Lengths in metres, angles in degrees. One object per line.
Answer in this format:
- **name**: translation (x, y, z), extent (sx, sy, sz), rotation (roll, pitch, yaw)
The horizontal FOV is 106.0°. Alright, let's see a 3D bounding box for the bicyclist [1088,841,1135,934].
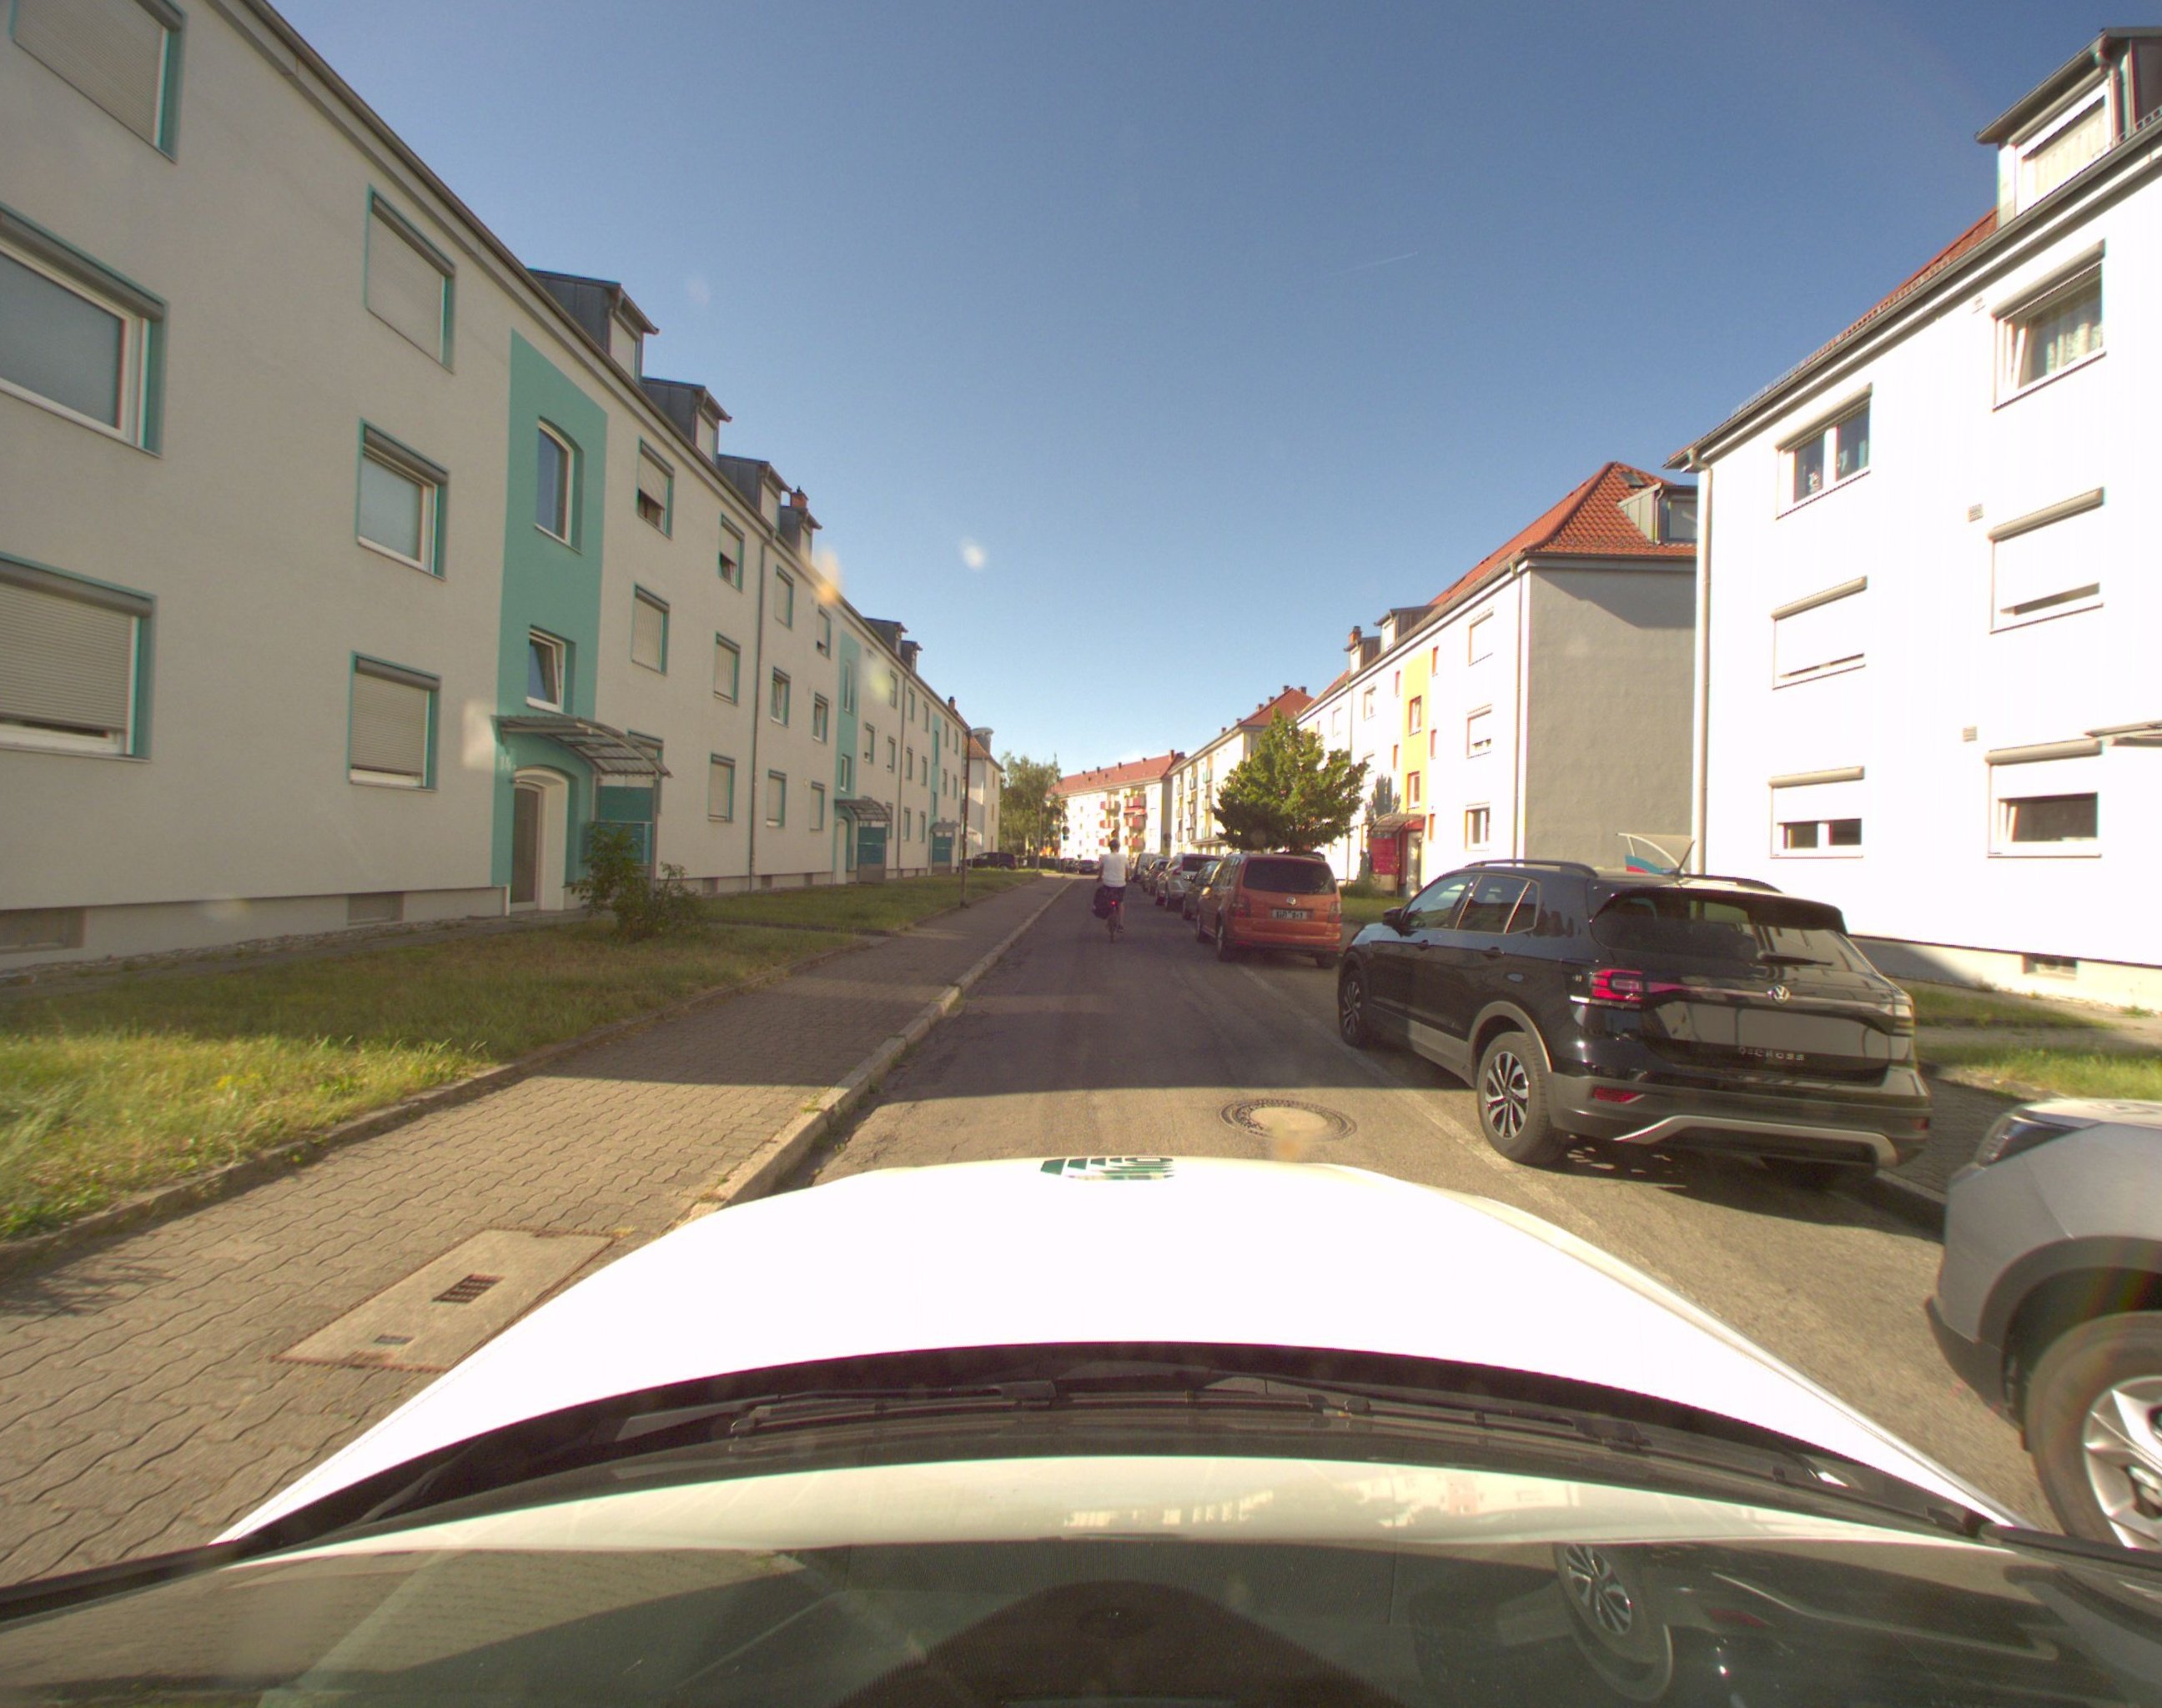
- **bicyclist**: translation (0.546, 0.590, 14.869), extent (0.806, 1.643, 0.898), rotation (0, 0, -1)

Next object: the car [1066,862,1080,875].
- **car**: translation (-0.894, 1.602, 91.505), extent (1.465, 1.335, 3.139), rotation (-2, 0, -2)

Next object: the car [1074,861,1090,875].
- **car**: translation (0.067, 1.411, 84.848), extent (1.466, 1.335, 3.137), rotation (-2, 0, -3)

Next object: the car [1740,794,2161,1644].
- **car**: translation (2.982, 0.749, 0.319), extent (1.745, 1.617, 4.450), rotation (4, 0, -1)

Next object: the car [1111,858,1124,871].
- **car**: translation (4.355, 1.227, 96.976), extent (1.377, 1.497, 3.076), rotation (2, 0, -1)

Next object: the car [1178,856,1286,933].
- **car**: translation (3.351, 0.840, 18.736), extent (1.613, 1.460, 3.839), rotation (4, 0, -1)

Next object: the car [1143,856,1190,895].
- **car**: translation (3.412, 0.820, 33.124), extent (1.553, 1.411, 3.934), rotation (2, 0, 1)

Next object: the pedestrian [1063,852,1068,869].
- **pedestrian**: translation (-1.435, 0.566, 76.622), extent (0.433, 1.574, 0.543), rotation (2, 0, 1)

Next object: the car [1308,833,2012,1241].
- **car**: translation (3.046, 0.766, 5.617), extent (1.706, 1.595, 4.398), rotation (4, 0, 1)

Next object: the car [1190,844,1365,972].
- **car**: translation (2.989, 0.750, 13.302), extent (1.855, 1.668, 4.128), rotation (3, 0, 1)

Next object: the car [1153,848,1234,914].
- **car**: translation (3.186, 0.719, 23.870), extent (1.695, 1.671, 4.378), rotation (3, 0, 0)

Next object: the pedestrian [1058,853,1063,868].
- **pedestrian**: translation (-1.934, 0.604, 76.605), extent (0.433, 1.427, 0.543), rotation (2, 0, 1)

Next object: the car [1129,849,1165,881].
- **car**: translation (3.821, 0.624, 47.381), extent (1.669, 1.738, 3.941), rotation (2, 0, -1)

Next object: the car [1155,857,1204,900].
- **car**: translation (3.505, 0.841, 29.267), extent (1.386, 1.403, 3.245), rotation (2, 0, 1)

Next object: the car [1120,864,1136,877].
- **car**: translation (5.185, 1.773, 89.973), extent (1.465, 1.335, 3.140), rotation (2, 0, -1)

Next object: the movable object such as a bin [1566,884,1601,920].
- **movable object such as a bin**: translation (13.100, 1.237, 21.229), extent (0.521, 0.886, 0.633), rotation (1, 0, 1)

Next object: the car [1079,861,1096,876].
- **car**: translation (0.644, 1.410, 80.468), extent (1.466, 1.335, 3.137), rotation (-2, 0, -3)

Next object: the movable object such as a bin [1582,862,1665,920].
- **movable object such as a bin**: translation (14.051, 0.940, 21.139), extent (1.355, 1.416, 1.188), rotation (1, 0, 1)

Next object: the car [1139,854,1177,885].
- **car**: translation (3.991, 0.788, 42.662), extent (1.554, 1.453, 3.365), rotation (2, 0, -1)

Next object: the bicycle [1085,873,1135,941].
- **bicycle**: translation (0.509, 0.934, 15.022), extent (0.806, 1.128, 2.101), rotation (0, 0, -1)

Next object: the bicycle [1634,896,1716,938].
- **bicycle**: translation (12.609, 1.319, 17.359), extent (0.452, 0.740, 1.870), rotation (1, 0, 2)

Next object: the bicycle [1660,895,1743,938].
- **bicycle**: translation (13.078, 1.295, 17.211), extent (0.452, 0.768, 1.781), rotation (1, 0, 2)

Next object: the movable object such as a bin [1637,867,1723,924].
- **movable object such as a bin**: translation (15.533, 1.055, 21.154), extent (1.355, 1.416, 1.188), rotation (1, 0, 1)

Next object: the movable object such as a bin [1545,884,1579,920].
- **movable object such as a bin**: translation (12.545, 1.239, 21.251), extent (0.521, 0.886, 0.633), rotation (1, 0, 1)

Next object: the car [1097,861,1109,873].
- **car**: translation (2.907, 1.683, 109.576), extent (1.465, 1.516, 3.076), rotation (2, 0, -1)

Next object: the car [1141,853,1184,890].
- **car**: translation (3.745, 0.761, 37.823), extent (1.554, 1.576, 3.365), rotation (2, 0, -1)

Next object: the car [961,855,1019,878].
- **car**: translation (-6.869, 0.905, 61.803), extent (4.221, 1.638, 1.581), rotation (1, 0, -3)
